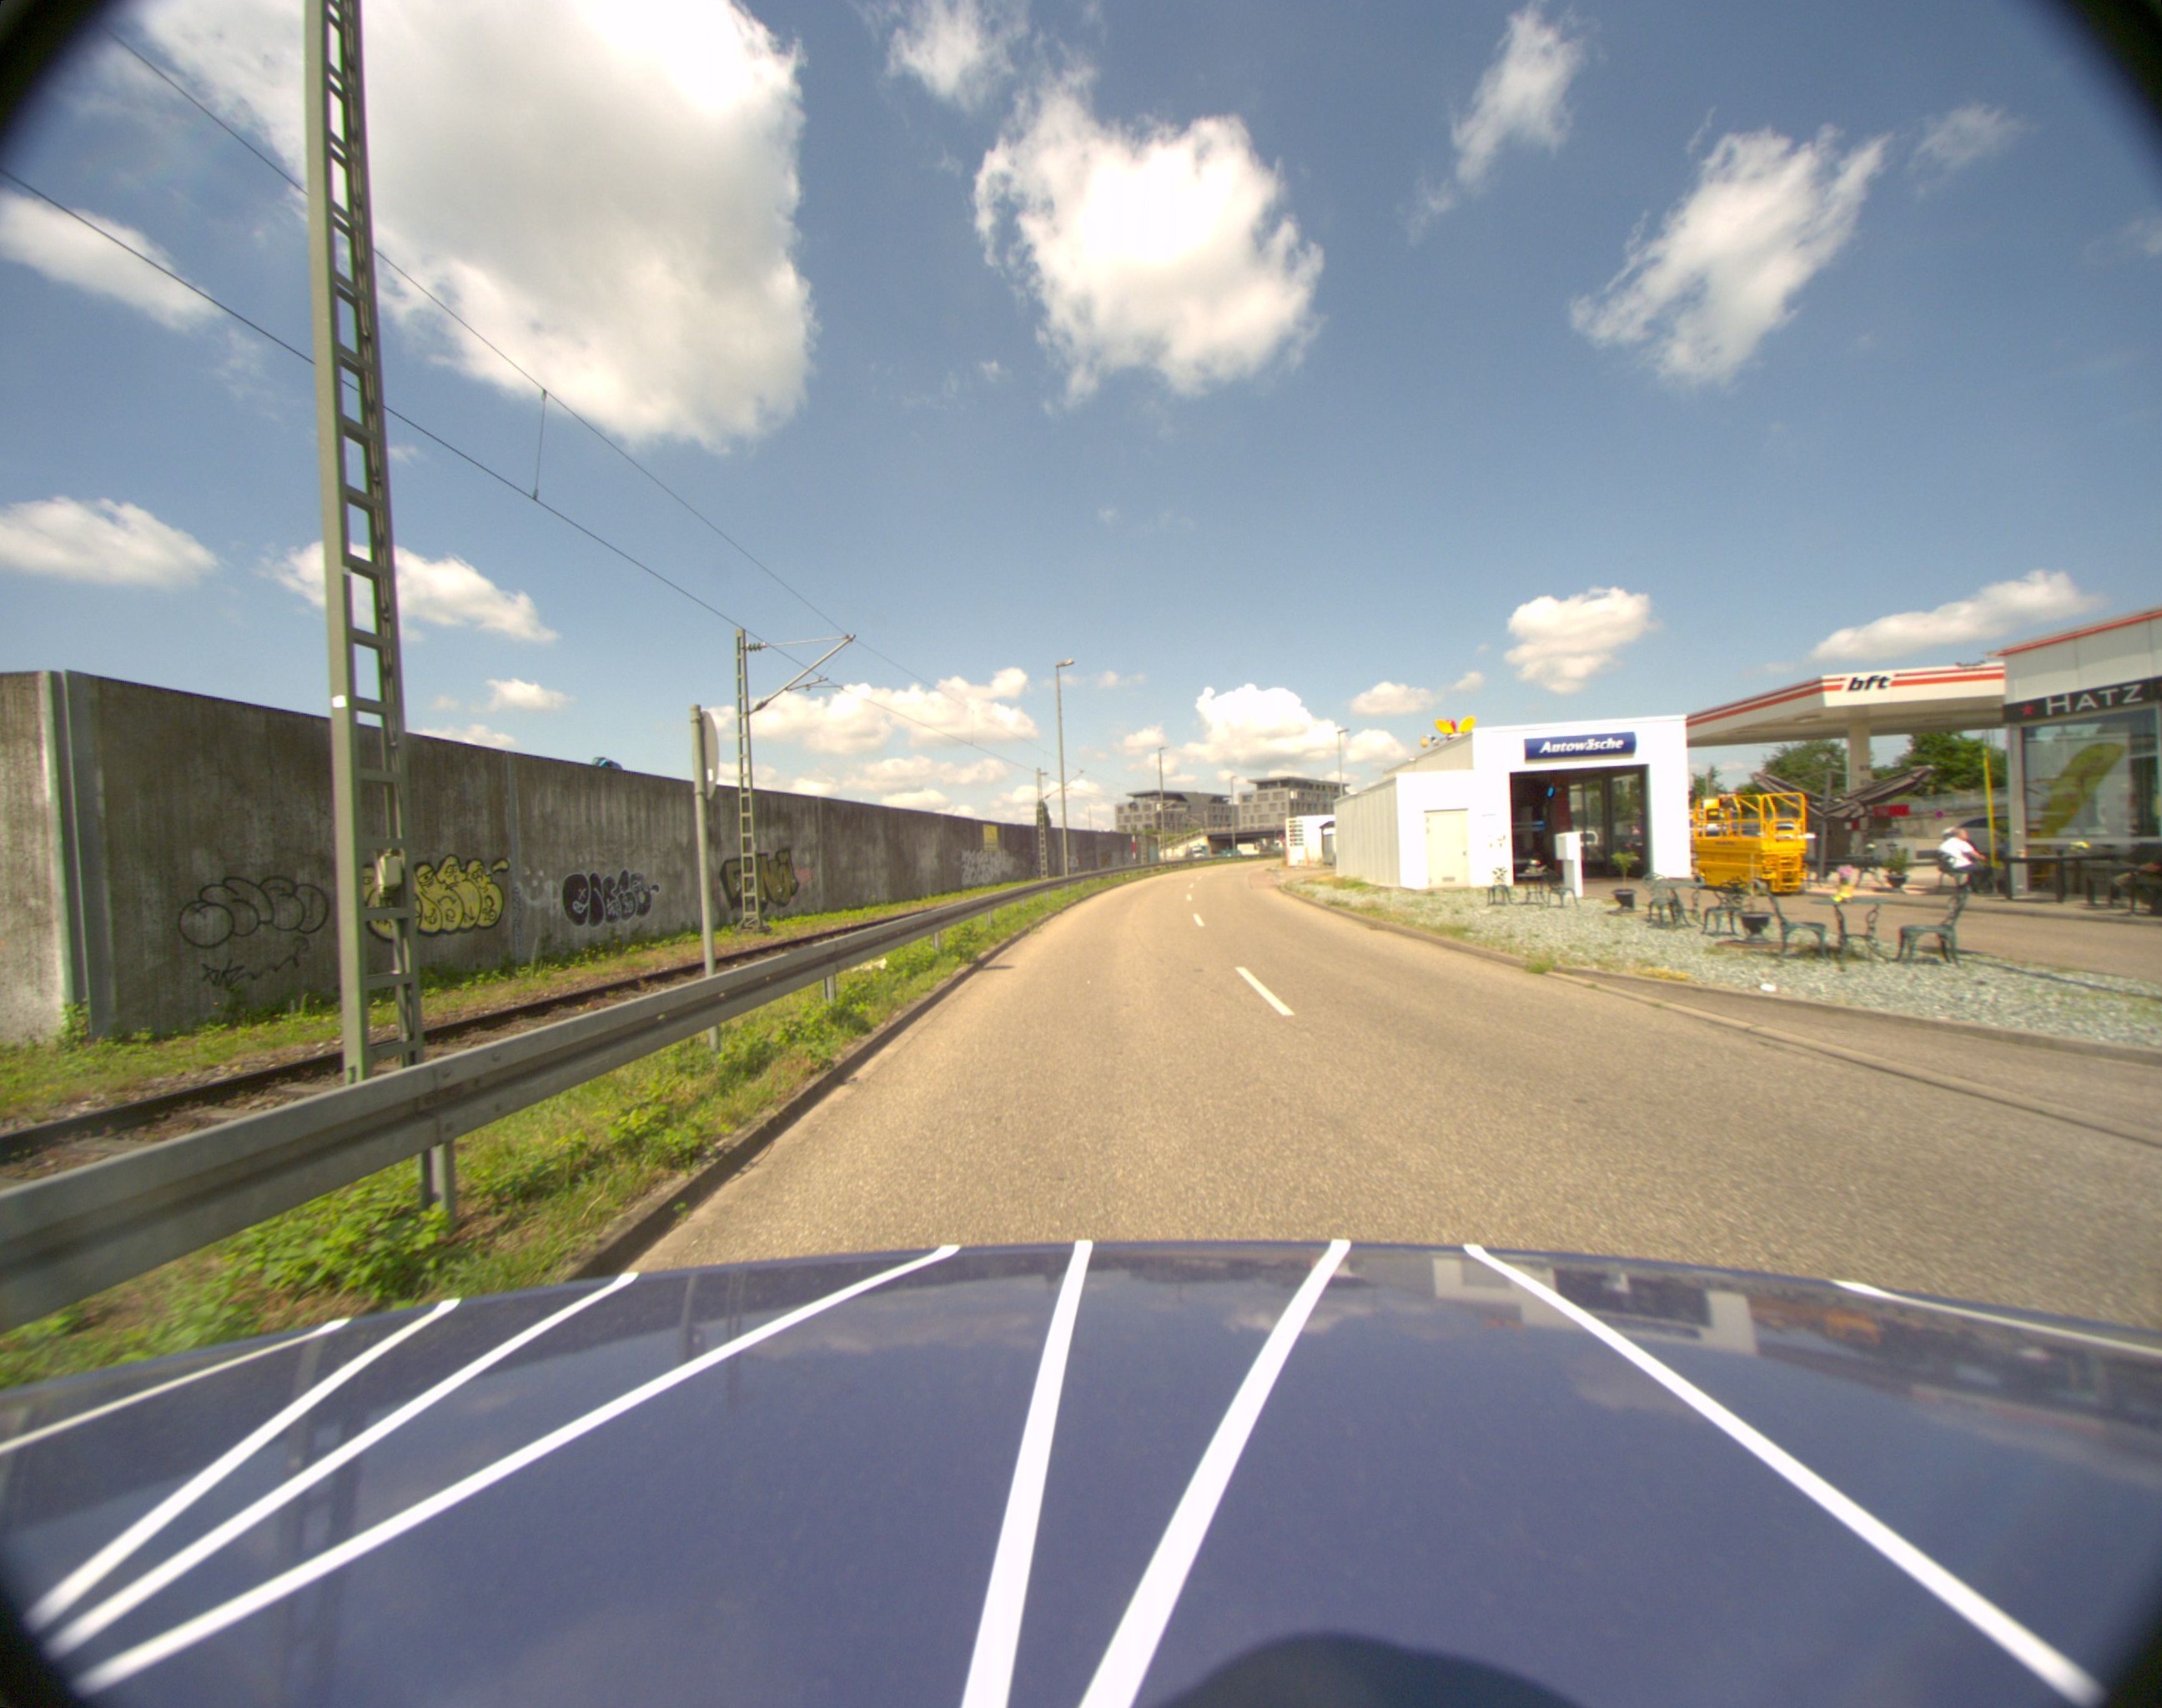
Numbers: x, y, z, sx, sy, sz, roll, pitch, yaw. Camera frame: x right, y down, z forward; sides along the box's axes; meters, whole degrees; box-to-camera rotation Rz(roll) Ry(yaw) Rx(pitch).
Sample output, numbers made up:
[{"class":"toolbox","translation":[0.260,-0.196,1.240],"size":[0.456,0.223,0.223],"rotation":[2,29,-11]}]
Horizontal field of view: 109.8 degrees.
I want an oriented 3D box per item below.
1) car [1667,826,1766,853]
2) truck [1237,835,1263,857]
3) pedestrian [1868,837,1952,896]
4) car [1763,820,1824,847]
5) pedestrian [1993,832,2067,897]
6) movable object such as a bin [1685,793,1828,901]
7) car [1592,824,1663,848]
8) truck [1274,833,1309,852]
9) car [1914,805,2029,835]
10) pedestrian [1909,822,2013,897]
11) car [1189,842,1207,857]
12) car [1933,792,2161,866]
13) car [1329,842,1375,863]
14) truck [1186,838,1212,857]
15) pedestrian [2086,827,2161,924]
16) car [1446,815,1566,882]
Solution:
[{"class":"car","translation":[38.738,-0.879,46.386],"size":[4.528,1.480,1.923],"rotation":[-2,1,-2]},{"class":"truck","translation":[26.966,-1.322,121.476],"size":[2.992,3.400,8.116],"rotation":[-2,1,6]},{"class":"pedestrian","translation":[16.456,0.243,15.110],"size":[0.820,1.104,0.756],"rotation":[-2,1,9]},{"class":"car","translation":[46.206,-1.311,49.343],"size":[1.270,1.615,3.125],"rotation":[-2,1,8]},{"class":"pedestrian","translation":[17.497,0.185,14.024],"size":[0.616,1.167,0.757],"rotation":[-2,1,31]},{"class":"movable object such as a bin","translation":[14.770,-0.187,16.761],"size":[1.064,2.140,2.705],"rotation":[-2,2,9]},{"class":"car","translation":[37.084,-1.212,51.693],"size":[1.997,1.543,4.599],"rotation":[-2,1,8]},{"class":"truck","translation":[36.910,-2.047,133.413],"size":[5.498,3.080,2.004],"rotation":[-1,1,39]},{"class":"car","translation":[53.030,-1.996,45.372],"size":[1.998,1.593,4.314],"rotation":[-2,1,4]},{"class":"pedestrian","translation":[16.356,0.101,14.139],"size":[0.941,1.300,0.864],"rotation":[-3,1,-8]},{"class":"car","translation":[21.361,-0.775,139.047],"size":[2.065,2.512,5.881],"rotation":[-4,1,-1]},{"class":"car","translation":[29.734,-0.734,23.560],"size":[1.997,2.002,4.672],"rotation":[-2,1,12]},{"class":"car","translation":[19.410,-0.131,54.608],"size":[1.921,1.369,4.792],"rotation":[-3,1,5]},{"class":"truck","translation":[23.224,-1.276,150.230],"size":[2.656,3.625,6.881],"rotation":[-4,1,-10]},{"class":"pedestrian","translation":[14.555,0.269,10.257],"size":[0.754,1.249,0.899],"rotation":[-3,1,11]},{"class":"car","translation":[14.969,-0.225,27.130],"size":[1.997,2.097,5.012],"rotation":[-2,1,8]}]
